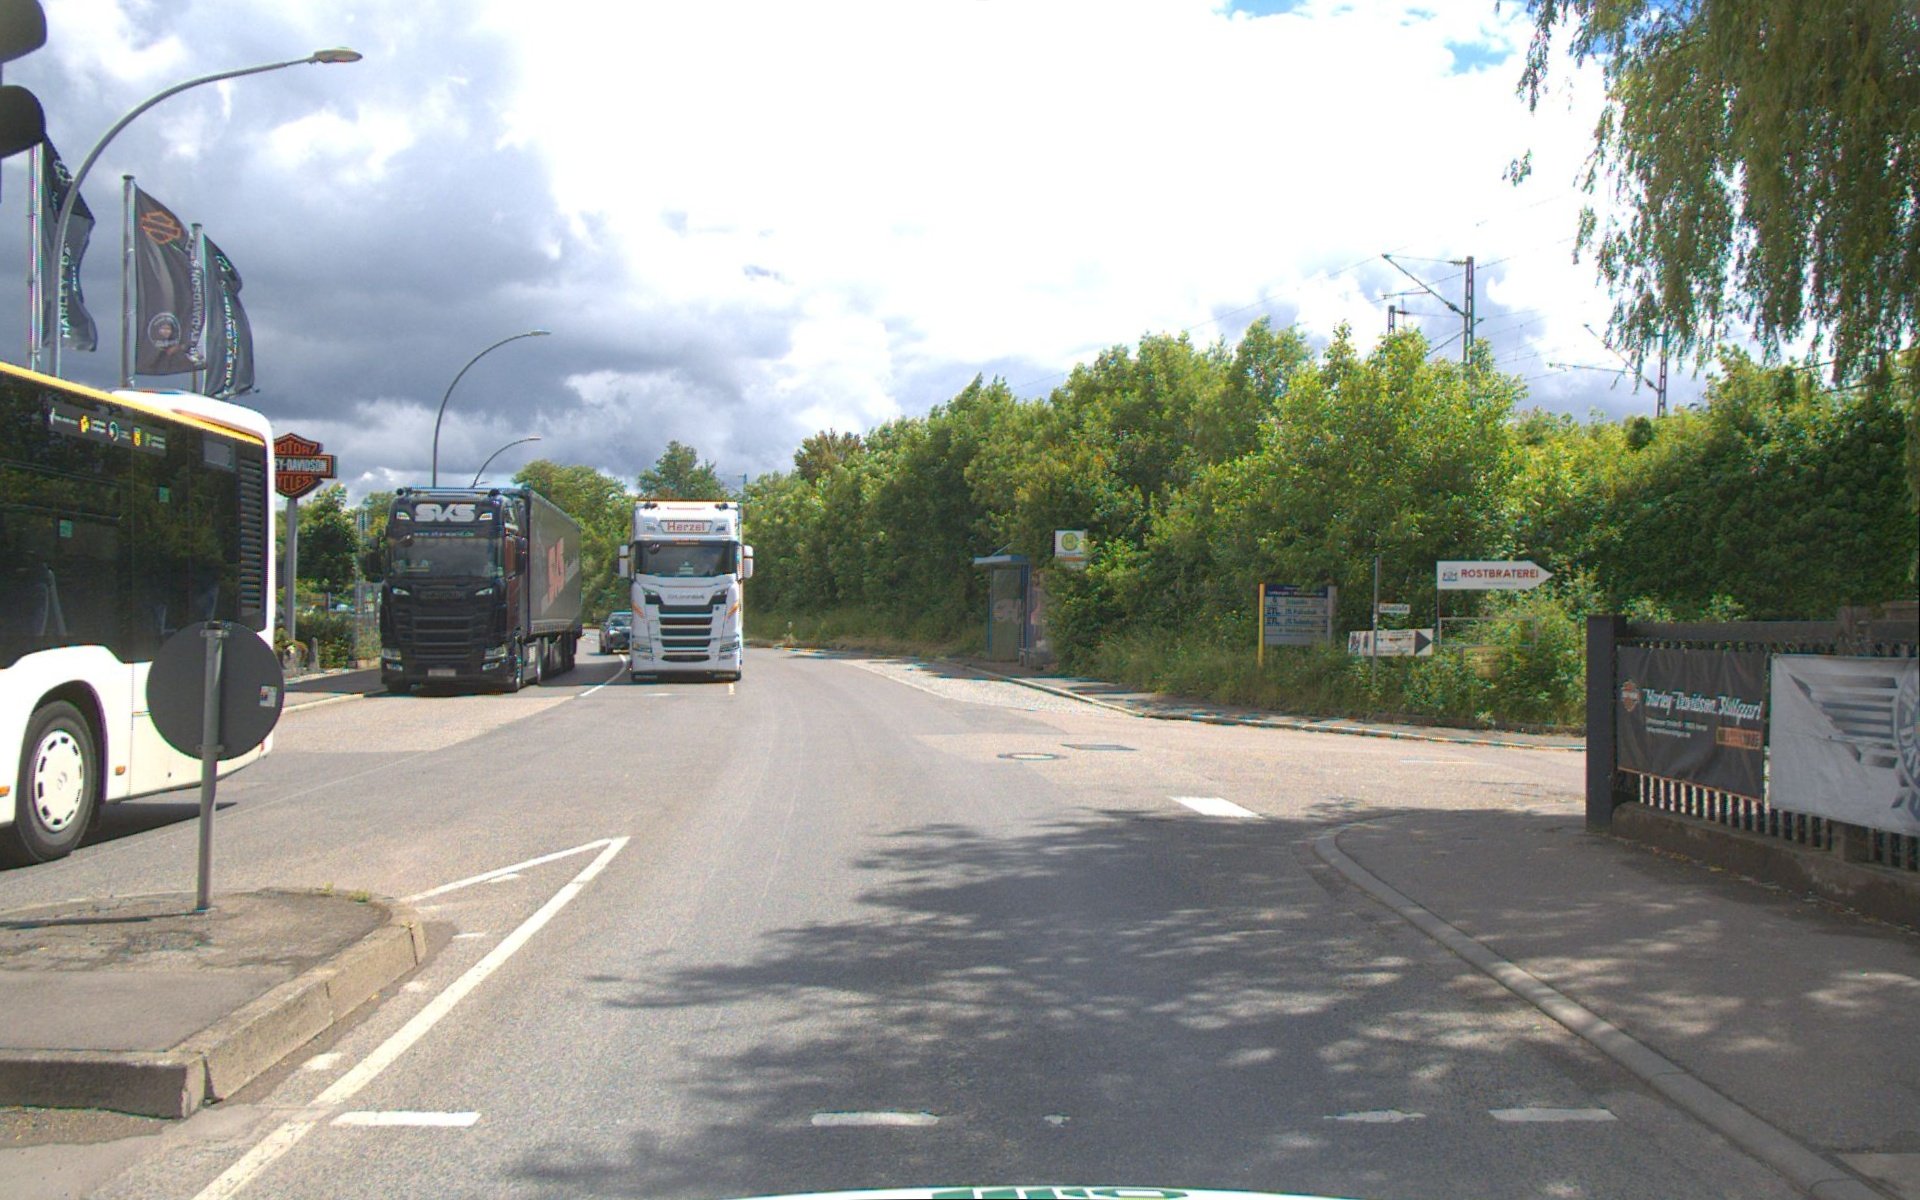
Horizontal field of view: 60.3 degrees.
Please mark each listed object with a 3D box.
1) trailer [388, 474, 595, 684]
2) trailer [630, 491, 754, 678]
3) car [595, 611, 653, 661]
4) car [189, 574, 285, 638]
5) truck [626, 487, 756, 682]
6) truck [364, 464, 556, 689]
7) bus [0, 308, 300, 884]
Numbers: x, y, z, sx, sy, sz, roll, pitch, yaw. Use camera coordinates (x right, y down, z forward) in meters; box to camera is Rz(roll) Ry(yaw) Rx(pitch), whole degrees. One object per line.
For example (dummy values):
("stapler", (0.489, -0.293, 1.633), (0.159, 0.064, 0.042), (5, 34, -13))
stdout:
("trailer", (-10.991, -0.315, 40.532), (2.747, 4.124, 15.525), (1, -1, -8))
("trailer", (-7.586, -0.255, 45.351), (2.722, 4.217, 15.308), (1, -1, -11))
("car", (-12.440, 1.305, 61.118), (1.959, 1.736, 3.986), (1, -1, -13))
("car", (-16.481, 0.153, 37.786), (1.023, 1.388, 2.686), (1, -1, -1))
("truck", (-6.314, -0.303, 38.430), (2.722, 4.192, 4.972), (1, -1, -11))
("truck", (-10.092, -0.390, 34.041), (2.747, 4.124, 6.488), (1, -1, -8))
("bus", (-6.406, -0.045, 7.090), (2.664, 3.084, 12.259), (0, -1, -2))
